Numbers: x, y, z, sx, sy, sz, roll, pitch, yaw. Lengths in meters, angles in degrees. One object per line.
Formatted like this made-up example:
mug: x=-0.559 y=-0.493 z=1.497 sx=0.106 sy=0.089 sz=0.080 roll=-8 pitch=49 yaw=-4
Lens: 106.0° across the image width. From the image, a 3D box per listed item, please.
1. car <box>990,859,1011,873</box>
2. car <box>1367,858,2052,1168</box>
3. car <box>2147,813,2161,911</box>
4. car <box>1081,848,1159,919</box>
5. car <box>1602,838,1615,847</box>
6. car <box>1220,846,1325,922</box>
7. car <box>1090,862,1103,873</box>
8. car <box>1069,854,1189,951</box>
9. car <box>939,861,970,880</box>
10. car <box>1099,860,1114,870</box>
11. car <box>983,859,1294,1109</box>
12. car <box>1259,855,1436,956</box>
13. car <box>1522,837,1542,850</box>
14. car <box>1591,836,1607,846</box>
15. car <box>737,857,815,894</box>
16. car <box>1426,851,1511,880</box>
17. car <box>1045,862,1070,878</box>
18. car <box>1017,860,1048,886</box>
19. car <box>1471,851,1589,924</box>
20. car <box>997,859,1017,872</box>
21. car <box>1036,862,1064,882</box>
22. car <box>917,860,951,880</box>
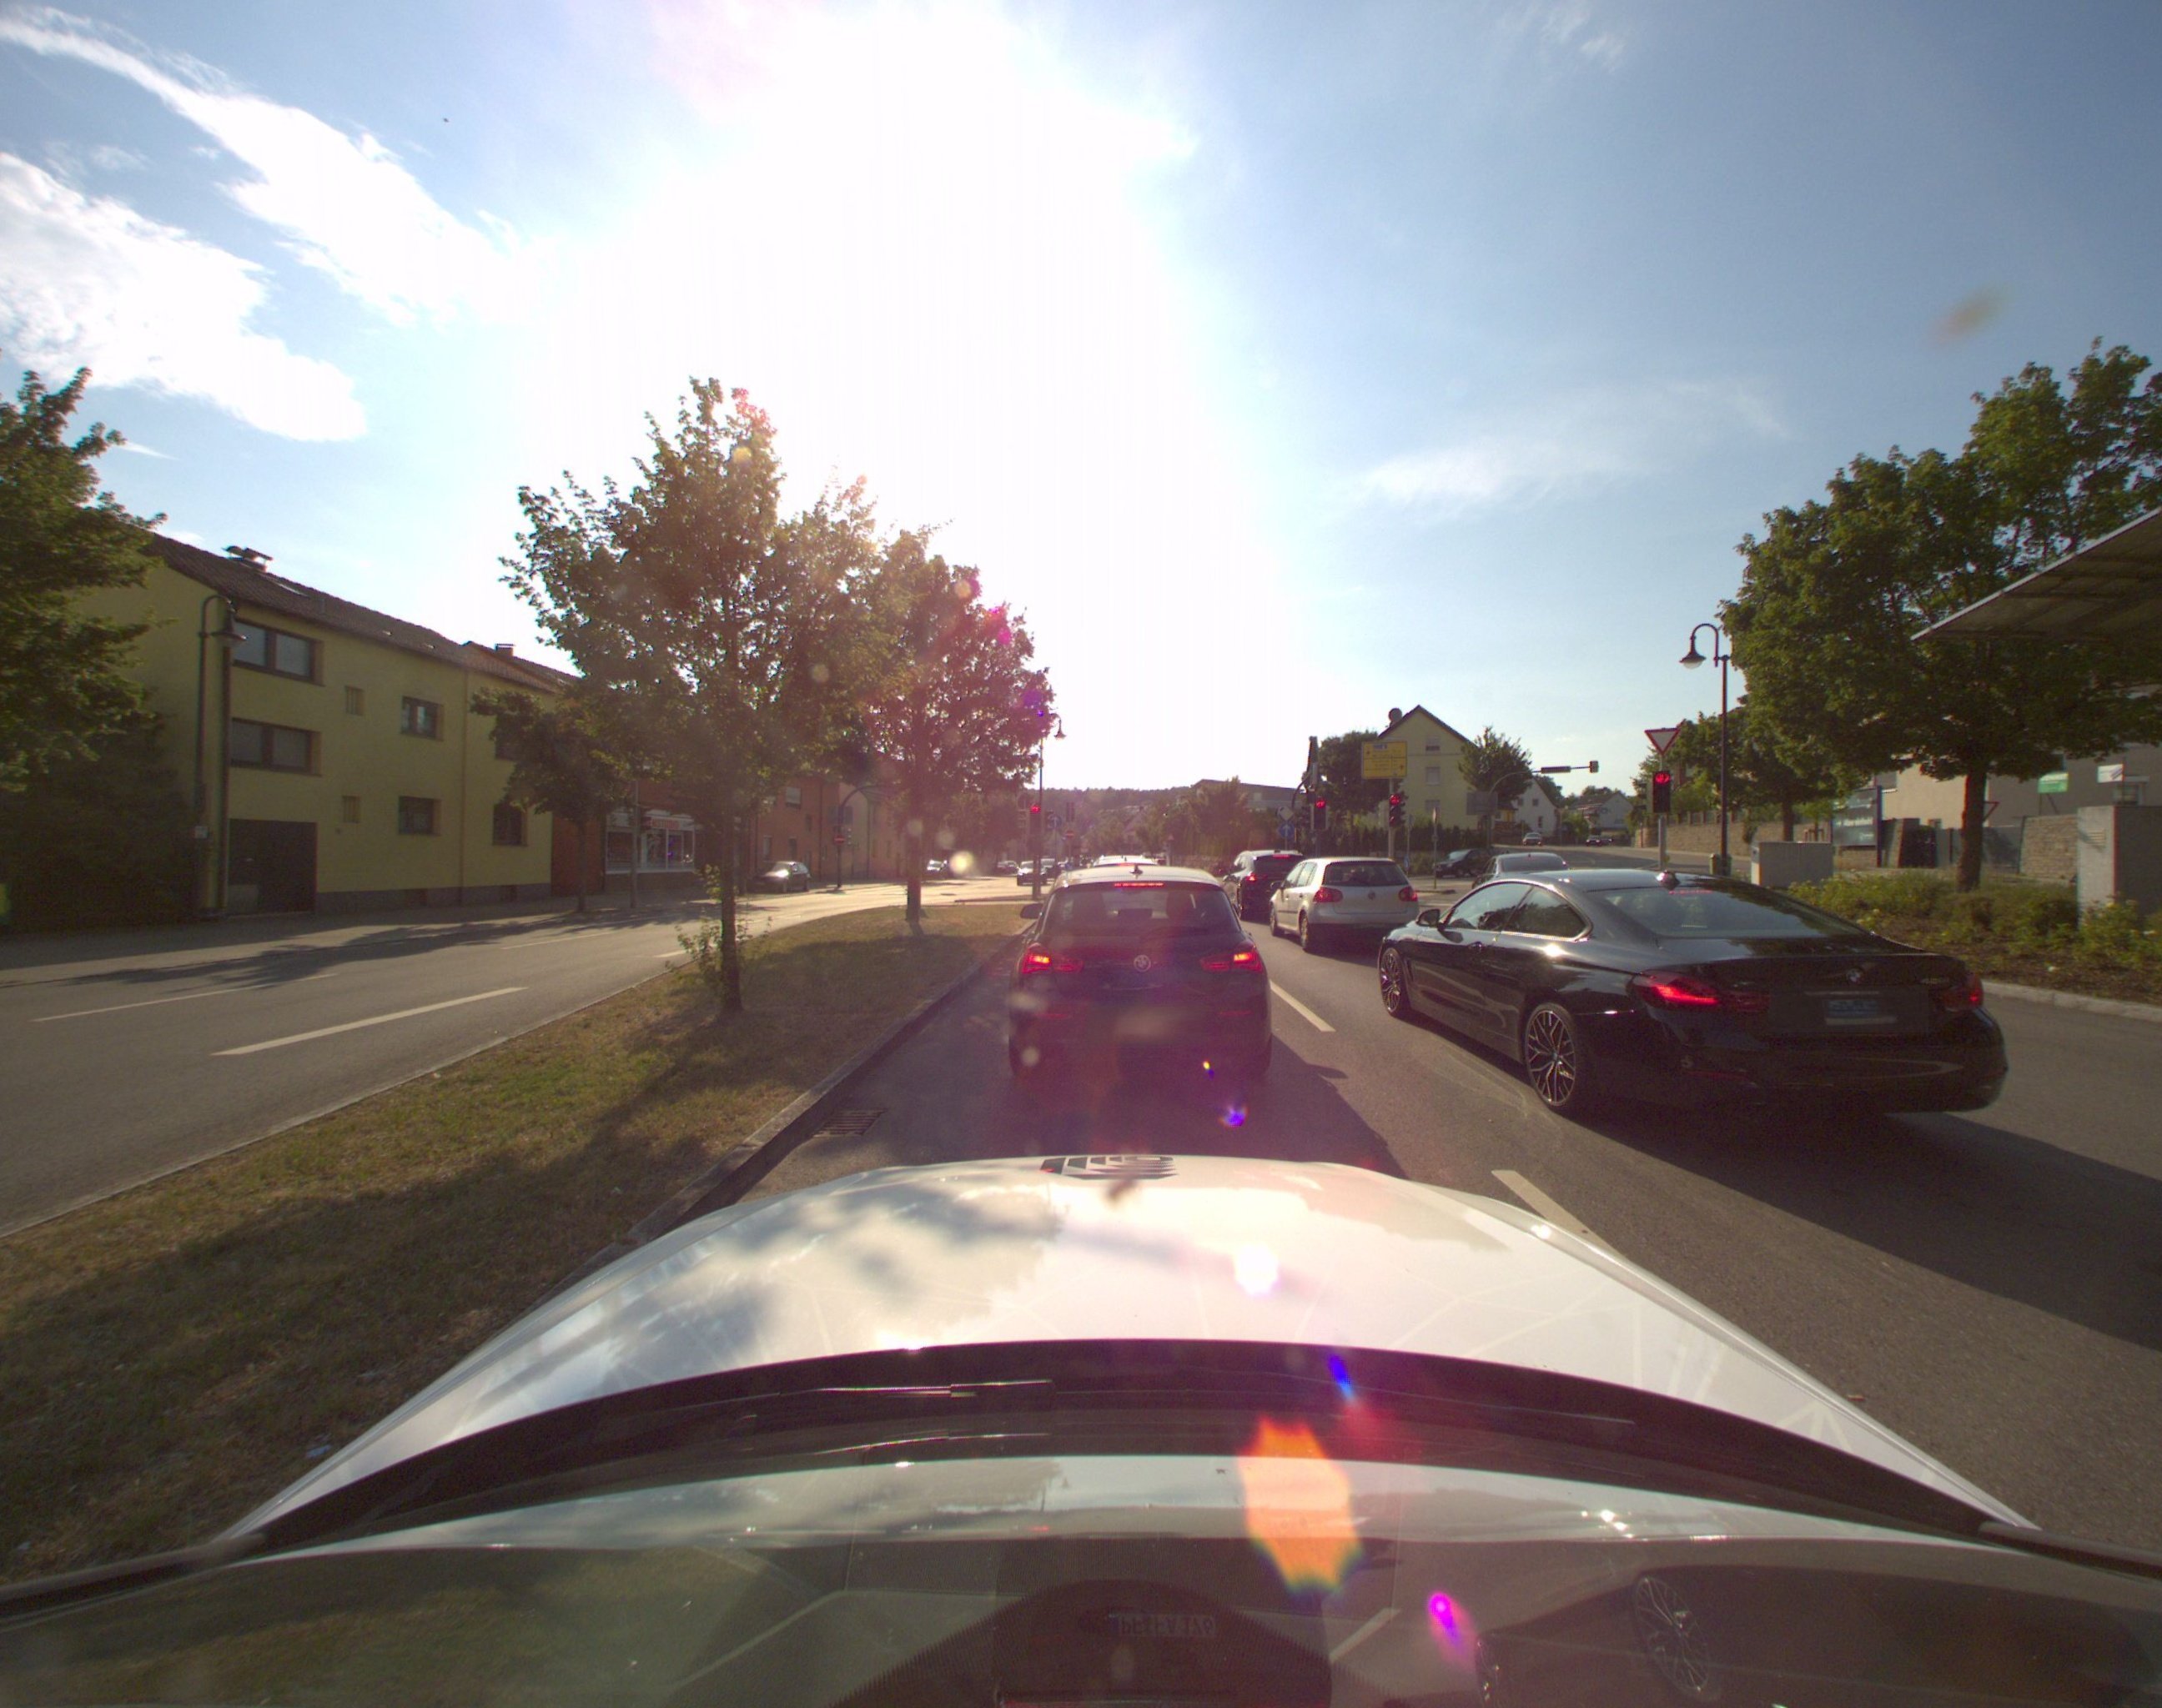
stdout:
car: x=-9.617 y=1.385 z=97.724 sx=1.916 sy=1.596 sz=4.004 roll=0 pitch=0 yaw=4
car: x=3.629 y=0.742 z=5.911 sx=1.808 sy=1.388 sz=4.351 roll=-1 pitch=0 yaw=3
car: x=19.568 y=0.116 z=12.272 sx=3.958 sy=1.608 sz=1.861 roll=0 pitch=0 yaw=14
car: x=1.033 y=0.696 z=21.015 sx=1.808 sy=1.641 sz=4.245 roll=-1 pitch=0 yaw=3
car: x=93.298 y=-1.985 z=144.081 sx=1.759 sy=1.580 sz=4.025 roll=-1 pitch=0 yaw=35
car: x=4.598 y=0.662 z=20.135 sx=1.808 sy=1.666 sz=4.351 roll=-1 pitch=0 yaw=3
car: x=2.765 y=2.329 z=142.073 sx=1.887 sy=1.702 sz=4.518 roll=-2 pitch=0 yaw=-4
car: x=0.852 y=0.742 z=14.481 sx=1.808 sy=1.451 sz=4.245 roll=-1 pitch=0 yaw=3
car: x=-11.350 y=1.484 z=73.480 sx=1.916 sy=1.596 sz=4.004 roll=0 pitch=0 yaw=4
car: x=3.737 y=1.597 z=120.823 sx=1.858 sy=1.485 sz=4.652 roll=0 pitch=0 yaw=-4
car: x=0.456 y=0.772 z=6.894 sx=1.783 sy=1.414 sz=4.351 roll=-1 pitch=0 yaw=3
car: x=4.292 y=0.743 z=13.852 sx=1.808 sy=1.446 sz=4.351 roll=-1 pitch=0 yaw=3
car: x=46.241 y=-1.118 z=83.441 sx=1.694 sy=1.244 sz=4.025 roll=-1 pitch=1 yaw=31
car: x=79.145 y=-1.968 z=124.324 sx=1.759 sy=1.580 sz=4.025 roll=-1 pitch=0 yaw=37
car: x=-14.156 y=0.954 z=38.043 sx=1.834 sy=1.552 sz=4.005 roll=2 pitch=0 yaw=5
car: x=21.516 y=0.617 z=45.276 sx=4.061 sy=1.507 sz=1.783 roll=0 pitch=0 yaw=-14
car: x=-1.980 y=1.340 z=69.440 sx=1.685 sy=1.353 sz=4.004 roll=0 pitch=0 yaw=4
car: x=-2.976 y=1.134 z=49.663 sx=1.763 sy=1.458 sz=3.994 roll=0 pitch=0 yaw=-4
car: x=9.904 y=0.658 z=18.282 sx=1.667 sy=1.435 sz=4.613 roll=-1 pitch=0 yaw=20
car: x=-9.310 y=1.393 z=103.226 sx=1.916 sy=1.596 sz=4.004 roll=0 pitch=0 yaw=4
car: x=-2.314 y=1.324 z=60.877 sx=1.685 sy=1.353 sz=4.004 roll=0 pitch=0 yaw=4
car: x=-12.175 y=1.312 z=67.660 sx=1.916 sy=1.596 sz=4.004 roll=0 pitch=0 yaw=4
